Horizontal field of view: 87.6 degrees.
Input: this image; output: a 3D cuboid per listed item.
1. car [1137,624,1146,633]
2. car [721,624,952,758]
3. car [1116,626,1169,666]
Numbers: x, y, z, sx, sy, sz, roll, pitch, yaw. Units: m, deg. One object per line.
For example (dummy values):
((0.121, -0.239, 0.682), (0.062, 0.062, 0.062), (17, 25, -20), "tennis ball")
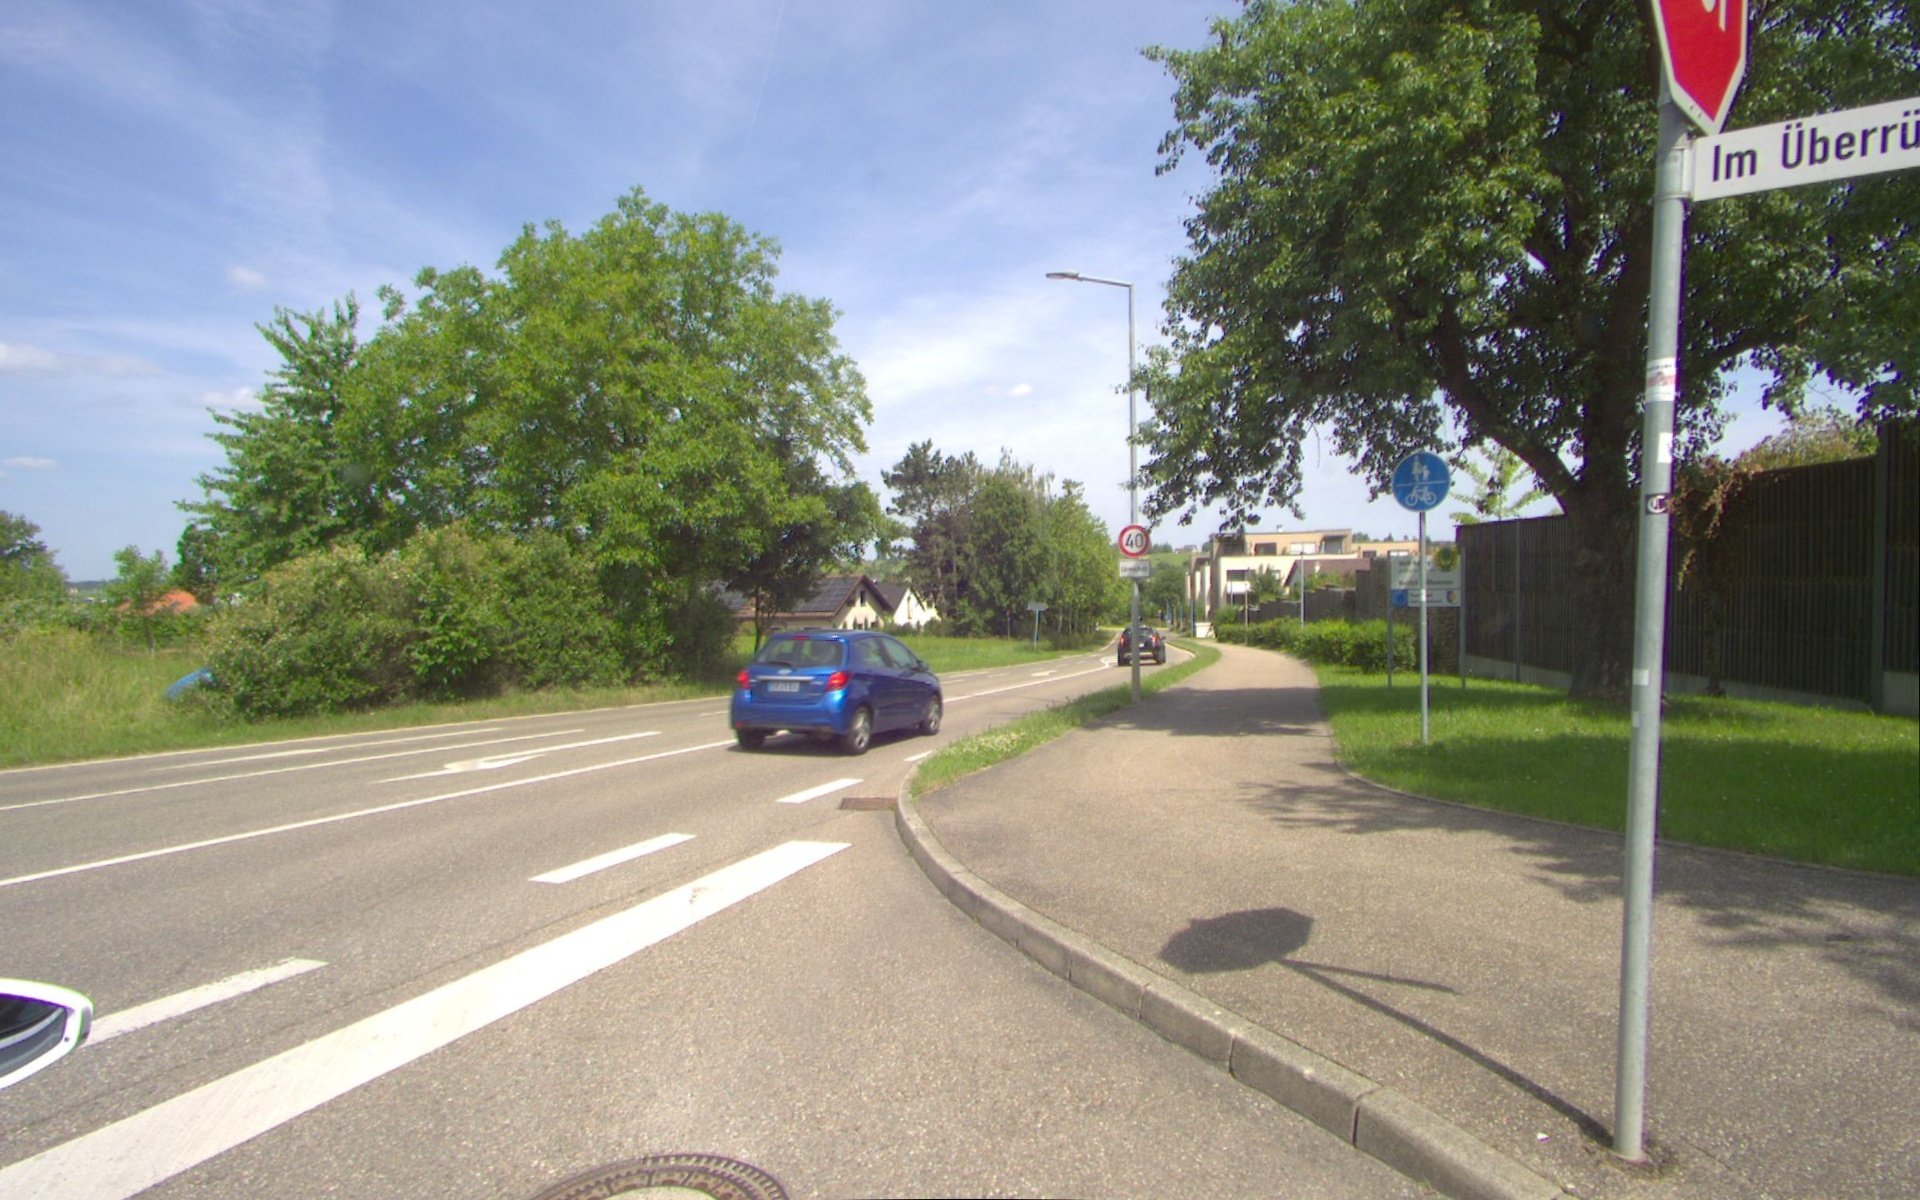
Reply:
((36.646, 5.756, 202.584), (1.625, 1.623, 3.796), (0, -2, 9), "car")
((-1.492, 1.107, 13.553), (1.585, 1.511, 3.843), (0, -1, 18), "car")
((7.844, 1.943, 42.845), (1.797, 1.601, 3.996), (-1, -2, 17), "car")
